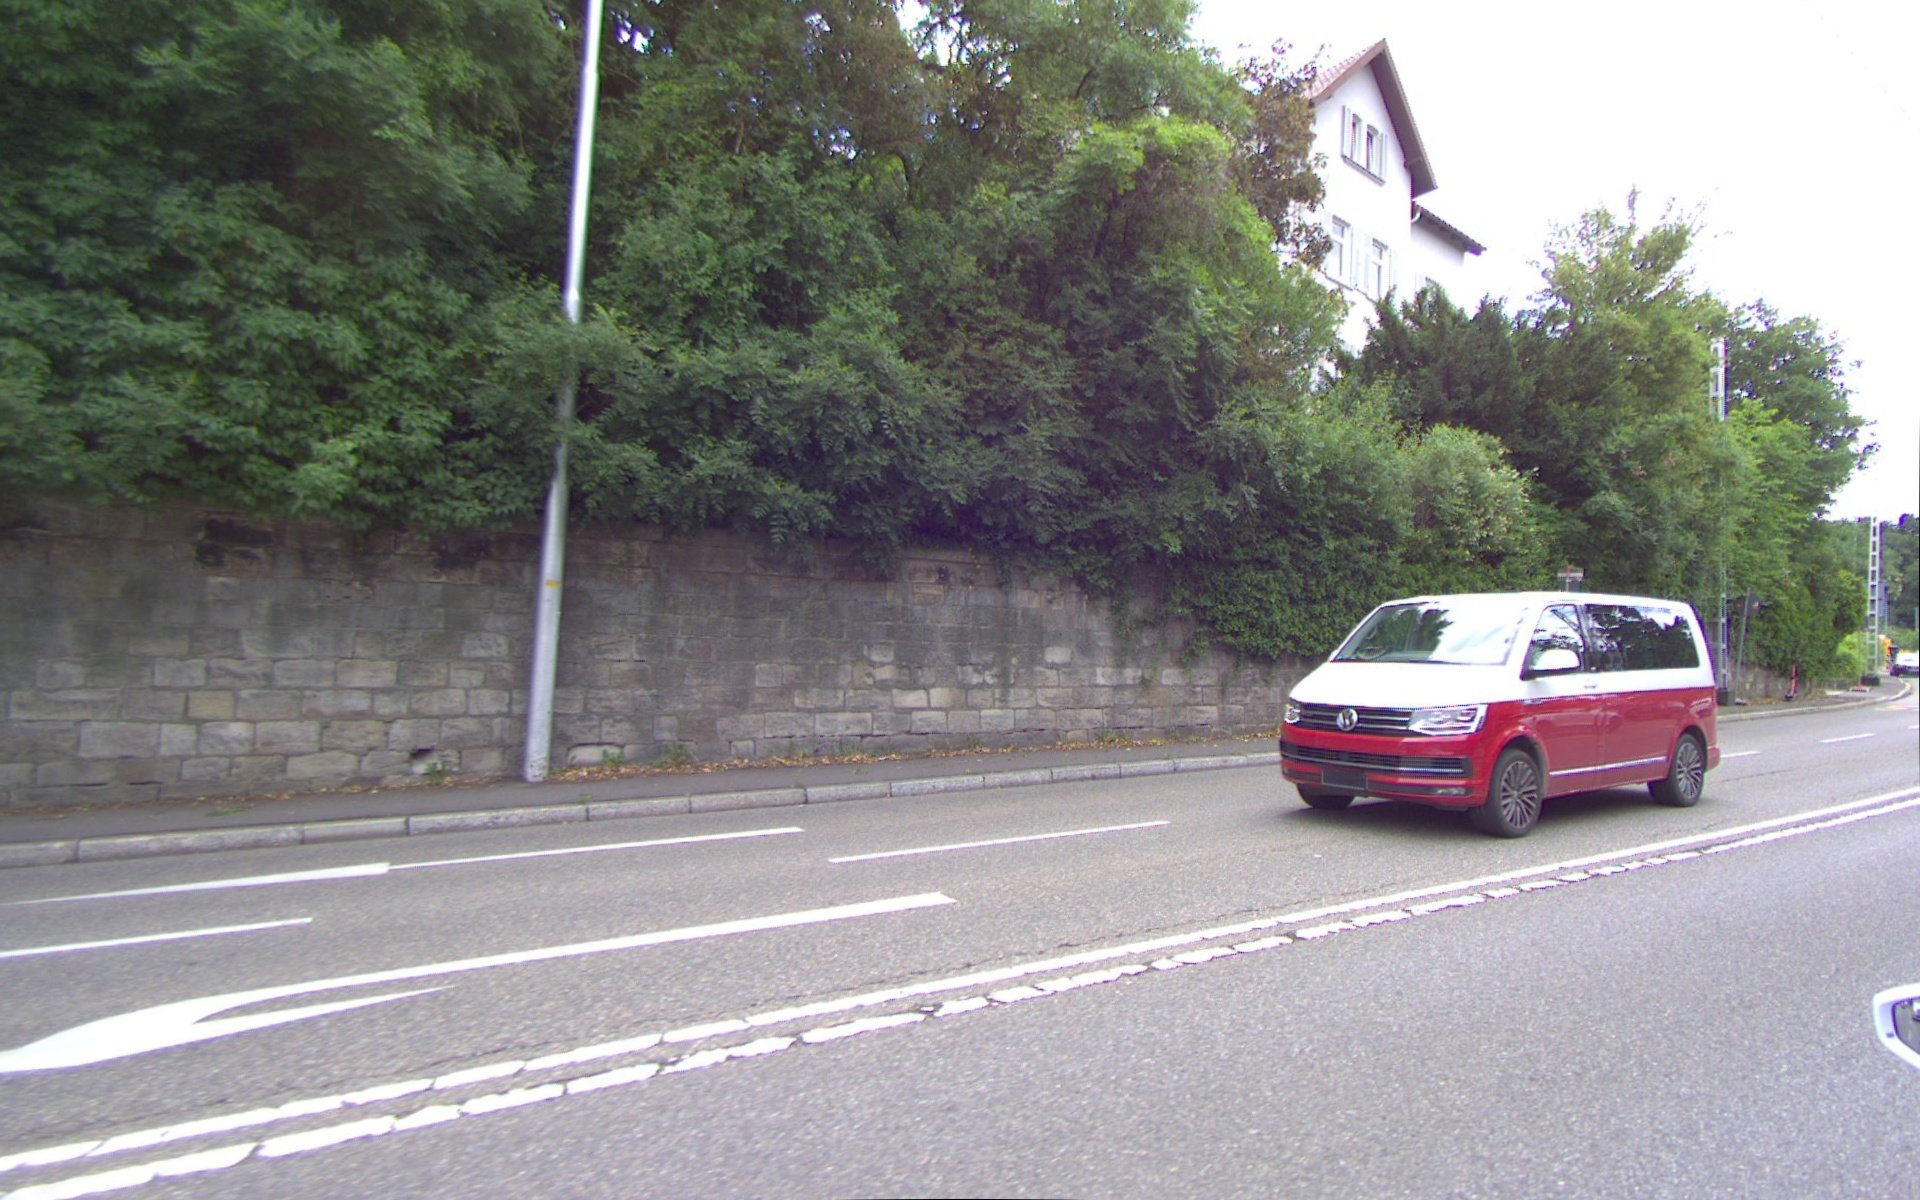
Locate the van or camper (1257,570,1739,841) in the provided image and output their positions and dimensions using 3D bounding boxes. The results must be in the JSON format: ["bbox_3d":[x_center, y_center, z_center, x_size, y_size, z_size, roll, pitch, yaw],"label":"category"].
[{"bbox_3d":[5.036,0.866,9.189,4.715,1.902,1.879,2,-4,-34],"label":"van or camper"}]

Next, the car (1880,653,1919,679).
[{"bbox_3d":[57.590,3.995,61.234,1.872,1.400,3.984,-1,-2,38],"label":"car"}]

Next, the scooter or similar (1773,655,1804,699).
[{"bbox_3d":[24.513,2.261,29.726,1.271,1.221,0.532,3,0,-44],"label":"scooter or similar"}]

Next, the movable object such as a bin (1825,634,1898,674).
[{"bbox_3d":[87.355,5.220,97.511,3.478,3.748,7.485,-1,-3,27],"label":"movable object such as a bin"}]
